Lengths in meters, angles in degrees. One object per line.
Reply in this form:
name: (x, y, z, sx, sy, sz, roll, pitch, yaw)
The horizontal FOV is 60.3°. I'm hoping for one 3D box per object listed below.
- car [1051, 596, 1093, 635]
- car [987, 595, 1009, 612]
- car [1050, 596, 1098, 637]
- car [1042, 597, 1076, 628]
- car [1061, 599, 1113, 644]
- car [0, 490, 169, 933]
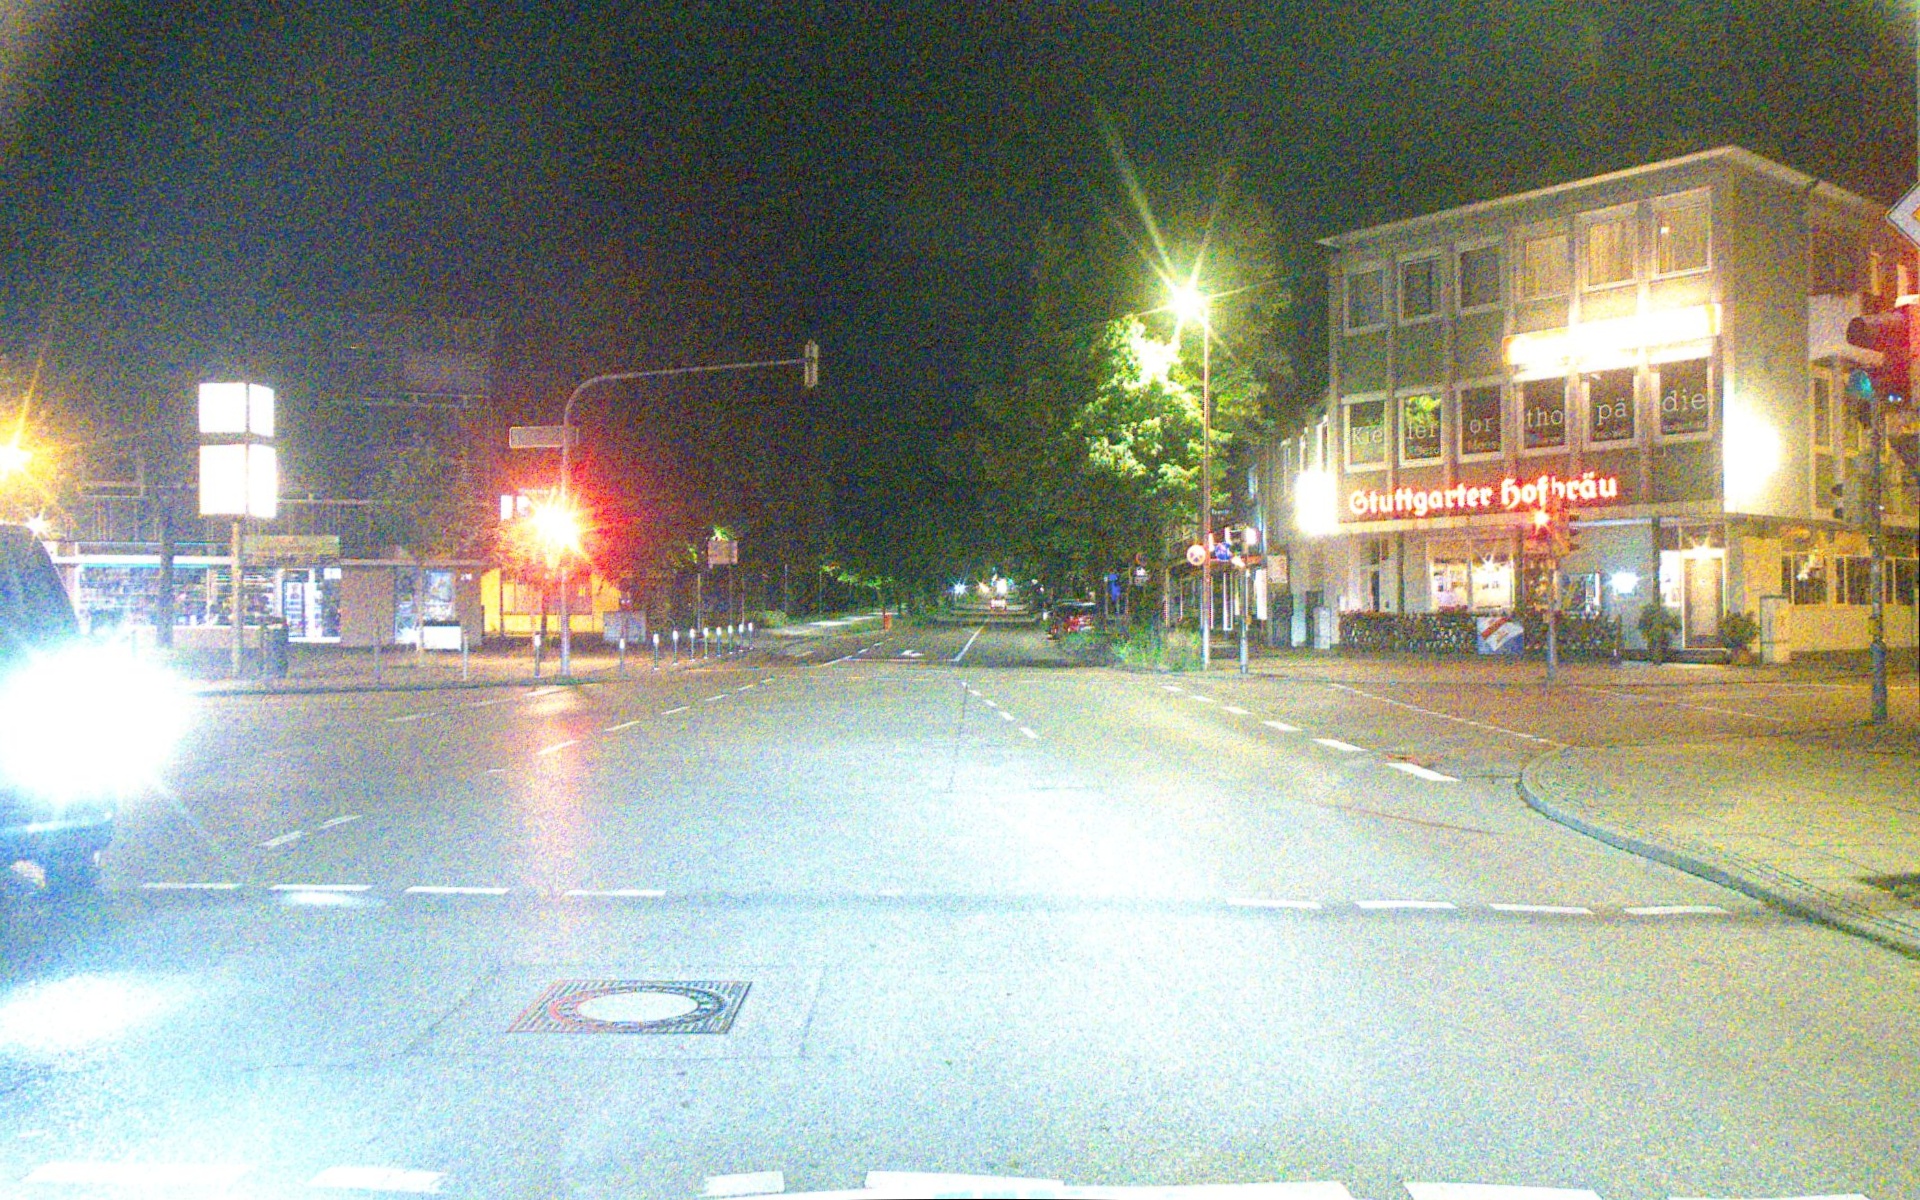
car: (5.154, 0.709, 76.540, 1.837, 1.759, 4.001, 0, 0, 2)
car: (3.913, 0.347, 172.000, 2.182, 1.680, 3.999, 0, 0, -1)
car: (4.730, 0.680, 68.863, 1.837, 1.643, 4.001, 0, 0, 2)
car: (5.654, 0.716, 94.626, 1.837, 1.713, 4.001, 0, 0, 2)
car: (4.850, 0.810, 63.774, 1.837, 1.643, 4.001, 0, 0, 2)
car: (-5.884, 0.494, 8.796, 1.954, 1.904, 4.842, 0, 0, -39)
